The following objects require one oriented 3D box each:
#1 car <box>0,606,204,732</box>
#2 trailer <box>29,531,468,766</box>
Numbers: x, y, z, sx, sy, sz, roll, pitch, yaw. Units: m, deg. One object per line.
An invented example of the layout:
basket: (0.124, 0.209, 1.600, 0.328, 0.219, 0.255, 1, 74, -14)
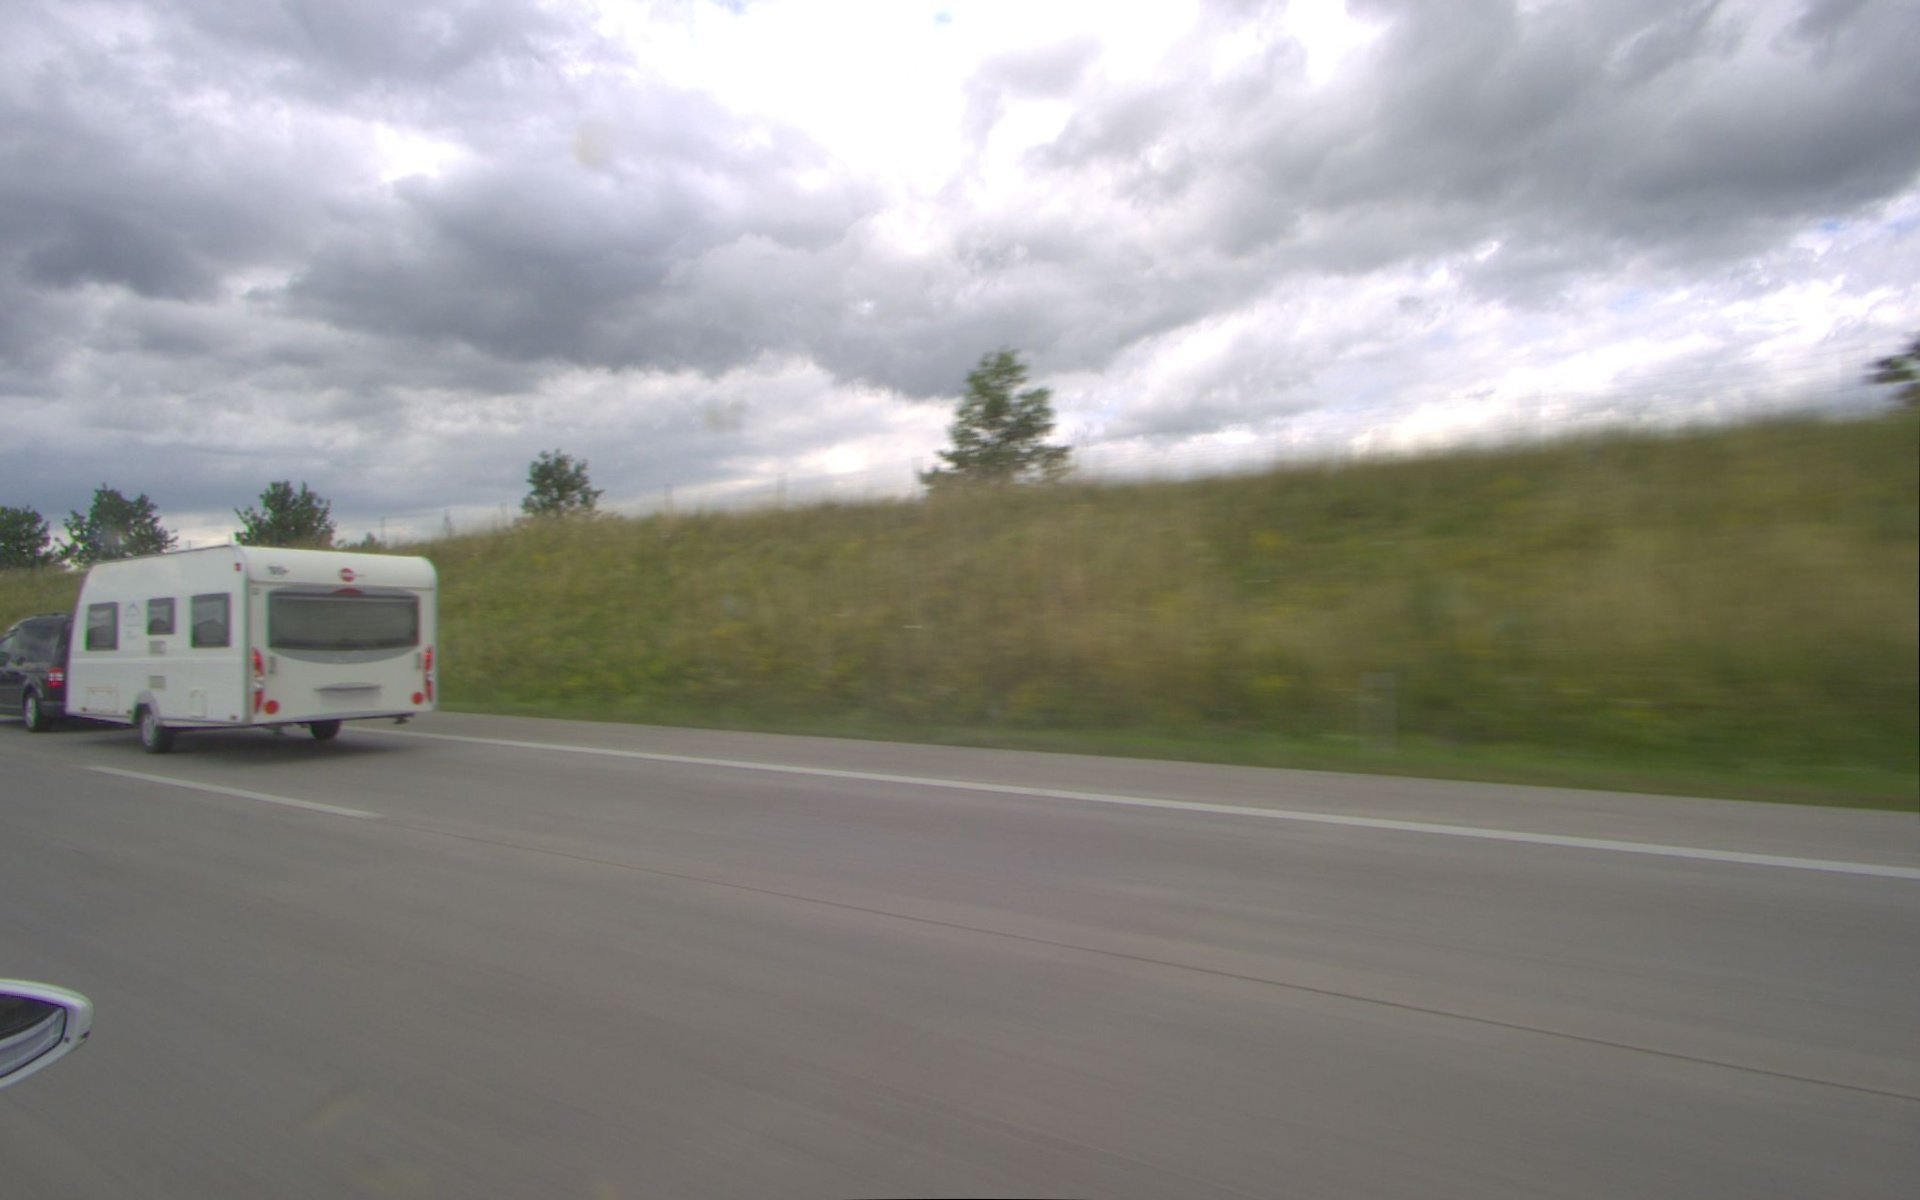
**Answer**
car: (-14.835, 1.062, 16.692, 4.959, 1.833, 1.936, -1, -1, 32)
trailer: (-9.954, 0.611, 13.807, 6.625, 2.567, 2.604, -1, -1, 32)
